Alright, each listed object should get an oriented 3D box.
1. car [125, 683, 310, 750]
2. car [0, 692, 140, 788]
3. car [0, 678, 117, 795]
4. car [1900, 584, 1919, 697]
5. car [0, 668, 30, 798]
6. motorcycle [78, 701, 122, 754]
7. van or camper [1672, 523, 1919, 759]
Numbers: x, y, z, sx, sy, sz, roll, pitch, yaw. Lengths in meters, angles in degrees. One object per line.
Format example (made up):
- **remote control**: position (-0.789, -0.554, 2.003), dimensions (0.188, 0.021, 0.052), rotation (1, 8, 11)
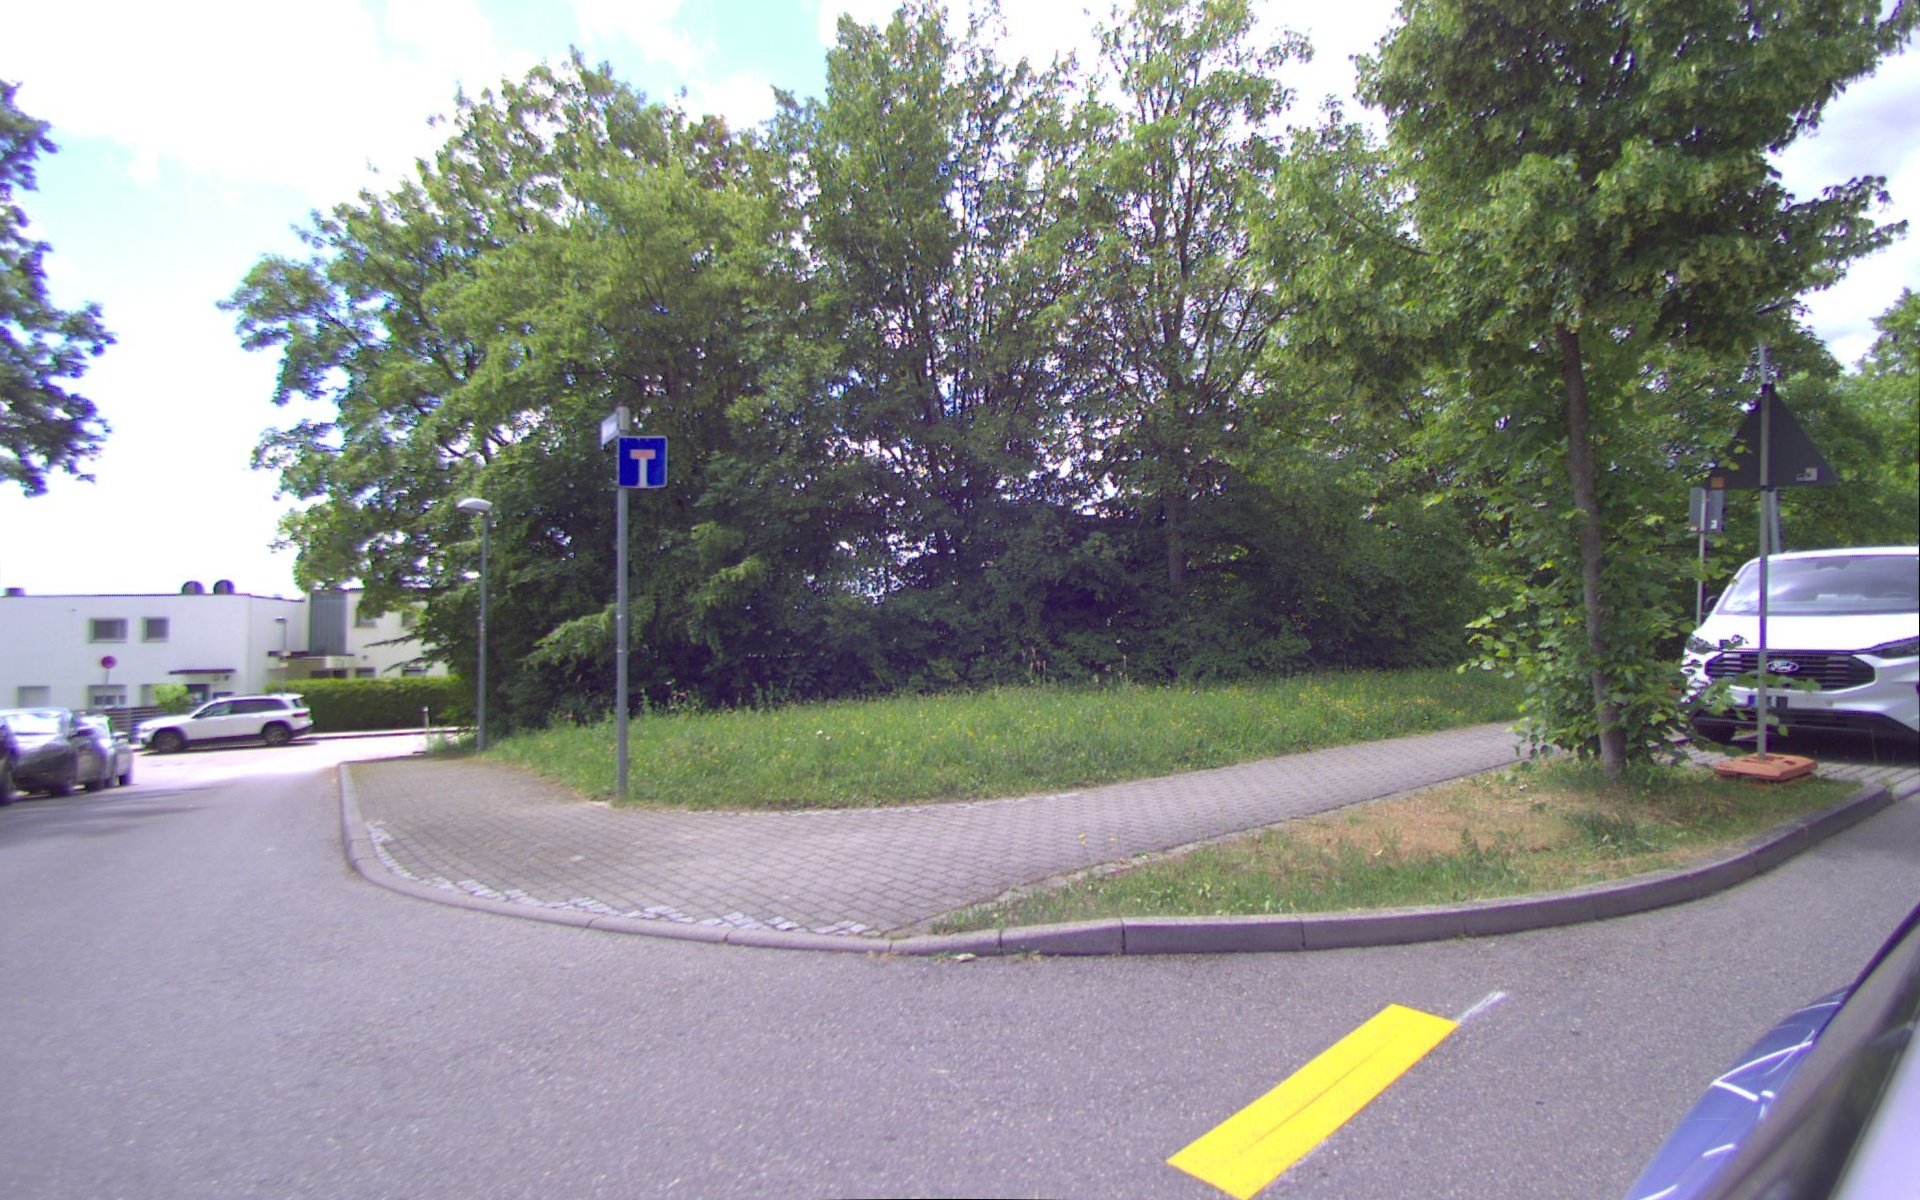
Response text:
- **car**: position (-23.735, 3.709, 32.619), dimensions (4.602, 1.759, 2.000), rotation (-1, -5, -31)
- **car**: position (-17.679, 2.757, 19.927), dimensions (1.961, 1.617, 3.998), rotation (0, -7, -33)
- **car**: position (-14.861, 2.193, 15.937), dimensions (1.961, 1.617, 3.998), rotation (0, -7, -33)
- **car**: position (14.783, 0.459, 13.799), dimensions (3.921, 1.483, 1.804), rotation (-2, -1, -31)
- **car**: position (-12.609, 1.616, 11.777), dimensions (1.961, 1.617, 3.998), rotation (0, -7, -33)
- **motorcycle**: position (-27.021, 3.979, 31.830), dimensions (0.827, 1.319, 2.986), rotation (-3, 0, -37)
- **van or camper**: position (9.601, 0.326, 10.427), dimensions (5.165, 1.944, 2.000), rotation (-1, -1, -35)
